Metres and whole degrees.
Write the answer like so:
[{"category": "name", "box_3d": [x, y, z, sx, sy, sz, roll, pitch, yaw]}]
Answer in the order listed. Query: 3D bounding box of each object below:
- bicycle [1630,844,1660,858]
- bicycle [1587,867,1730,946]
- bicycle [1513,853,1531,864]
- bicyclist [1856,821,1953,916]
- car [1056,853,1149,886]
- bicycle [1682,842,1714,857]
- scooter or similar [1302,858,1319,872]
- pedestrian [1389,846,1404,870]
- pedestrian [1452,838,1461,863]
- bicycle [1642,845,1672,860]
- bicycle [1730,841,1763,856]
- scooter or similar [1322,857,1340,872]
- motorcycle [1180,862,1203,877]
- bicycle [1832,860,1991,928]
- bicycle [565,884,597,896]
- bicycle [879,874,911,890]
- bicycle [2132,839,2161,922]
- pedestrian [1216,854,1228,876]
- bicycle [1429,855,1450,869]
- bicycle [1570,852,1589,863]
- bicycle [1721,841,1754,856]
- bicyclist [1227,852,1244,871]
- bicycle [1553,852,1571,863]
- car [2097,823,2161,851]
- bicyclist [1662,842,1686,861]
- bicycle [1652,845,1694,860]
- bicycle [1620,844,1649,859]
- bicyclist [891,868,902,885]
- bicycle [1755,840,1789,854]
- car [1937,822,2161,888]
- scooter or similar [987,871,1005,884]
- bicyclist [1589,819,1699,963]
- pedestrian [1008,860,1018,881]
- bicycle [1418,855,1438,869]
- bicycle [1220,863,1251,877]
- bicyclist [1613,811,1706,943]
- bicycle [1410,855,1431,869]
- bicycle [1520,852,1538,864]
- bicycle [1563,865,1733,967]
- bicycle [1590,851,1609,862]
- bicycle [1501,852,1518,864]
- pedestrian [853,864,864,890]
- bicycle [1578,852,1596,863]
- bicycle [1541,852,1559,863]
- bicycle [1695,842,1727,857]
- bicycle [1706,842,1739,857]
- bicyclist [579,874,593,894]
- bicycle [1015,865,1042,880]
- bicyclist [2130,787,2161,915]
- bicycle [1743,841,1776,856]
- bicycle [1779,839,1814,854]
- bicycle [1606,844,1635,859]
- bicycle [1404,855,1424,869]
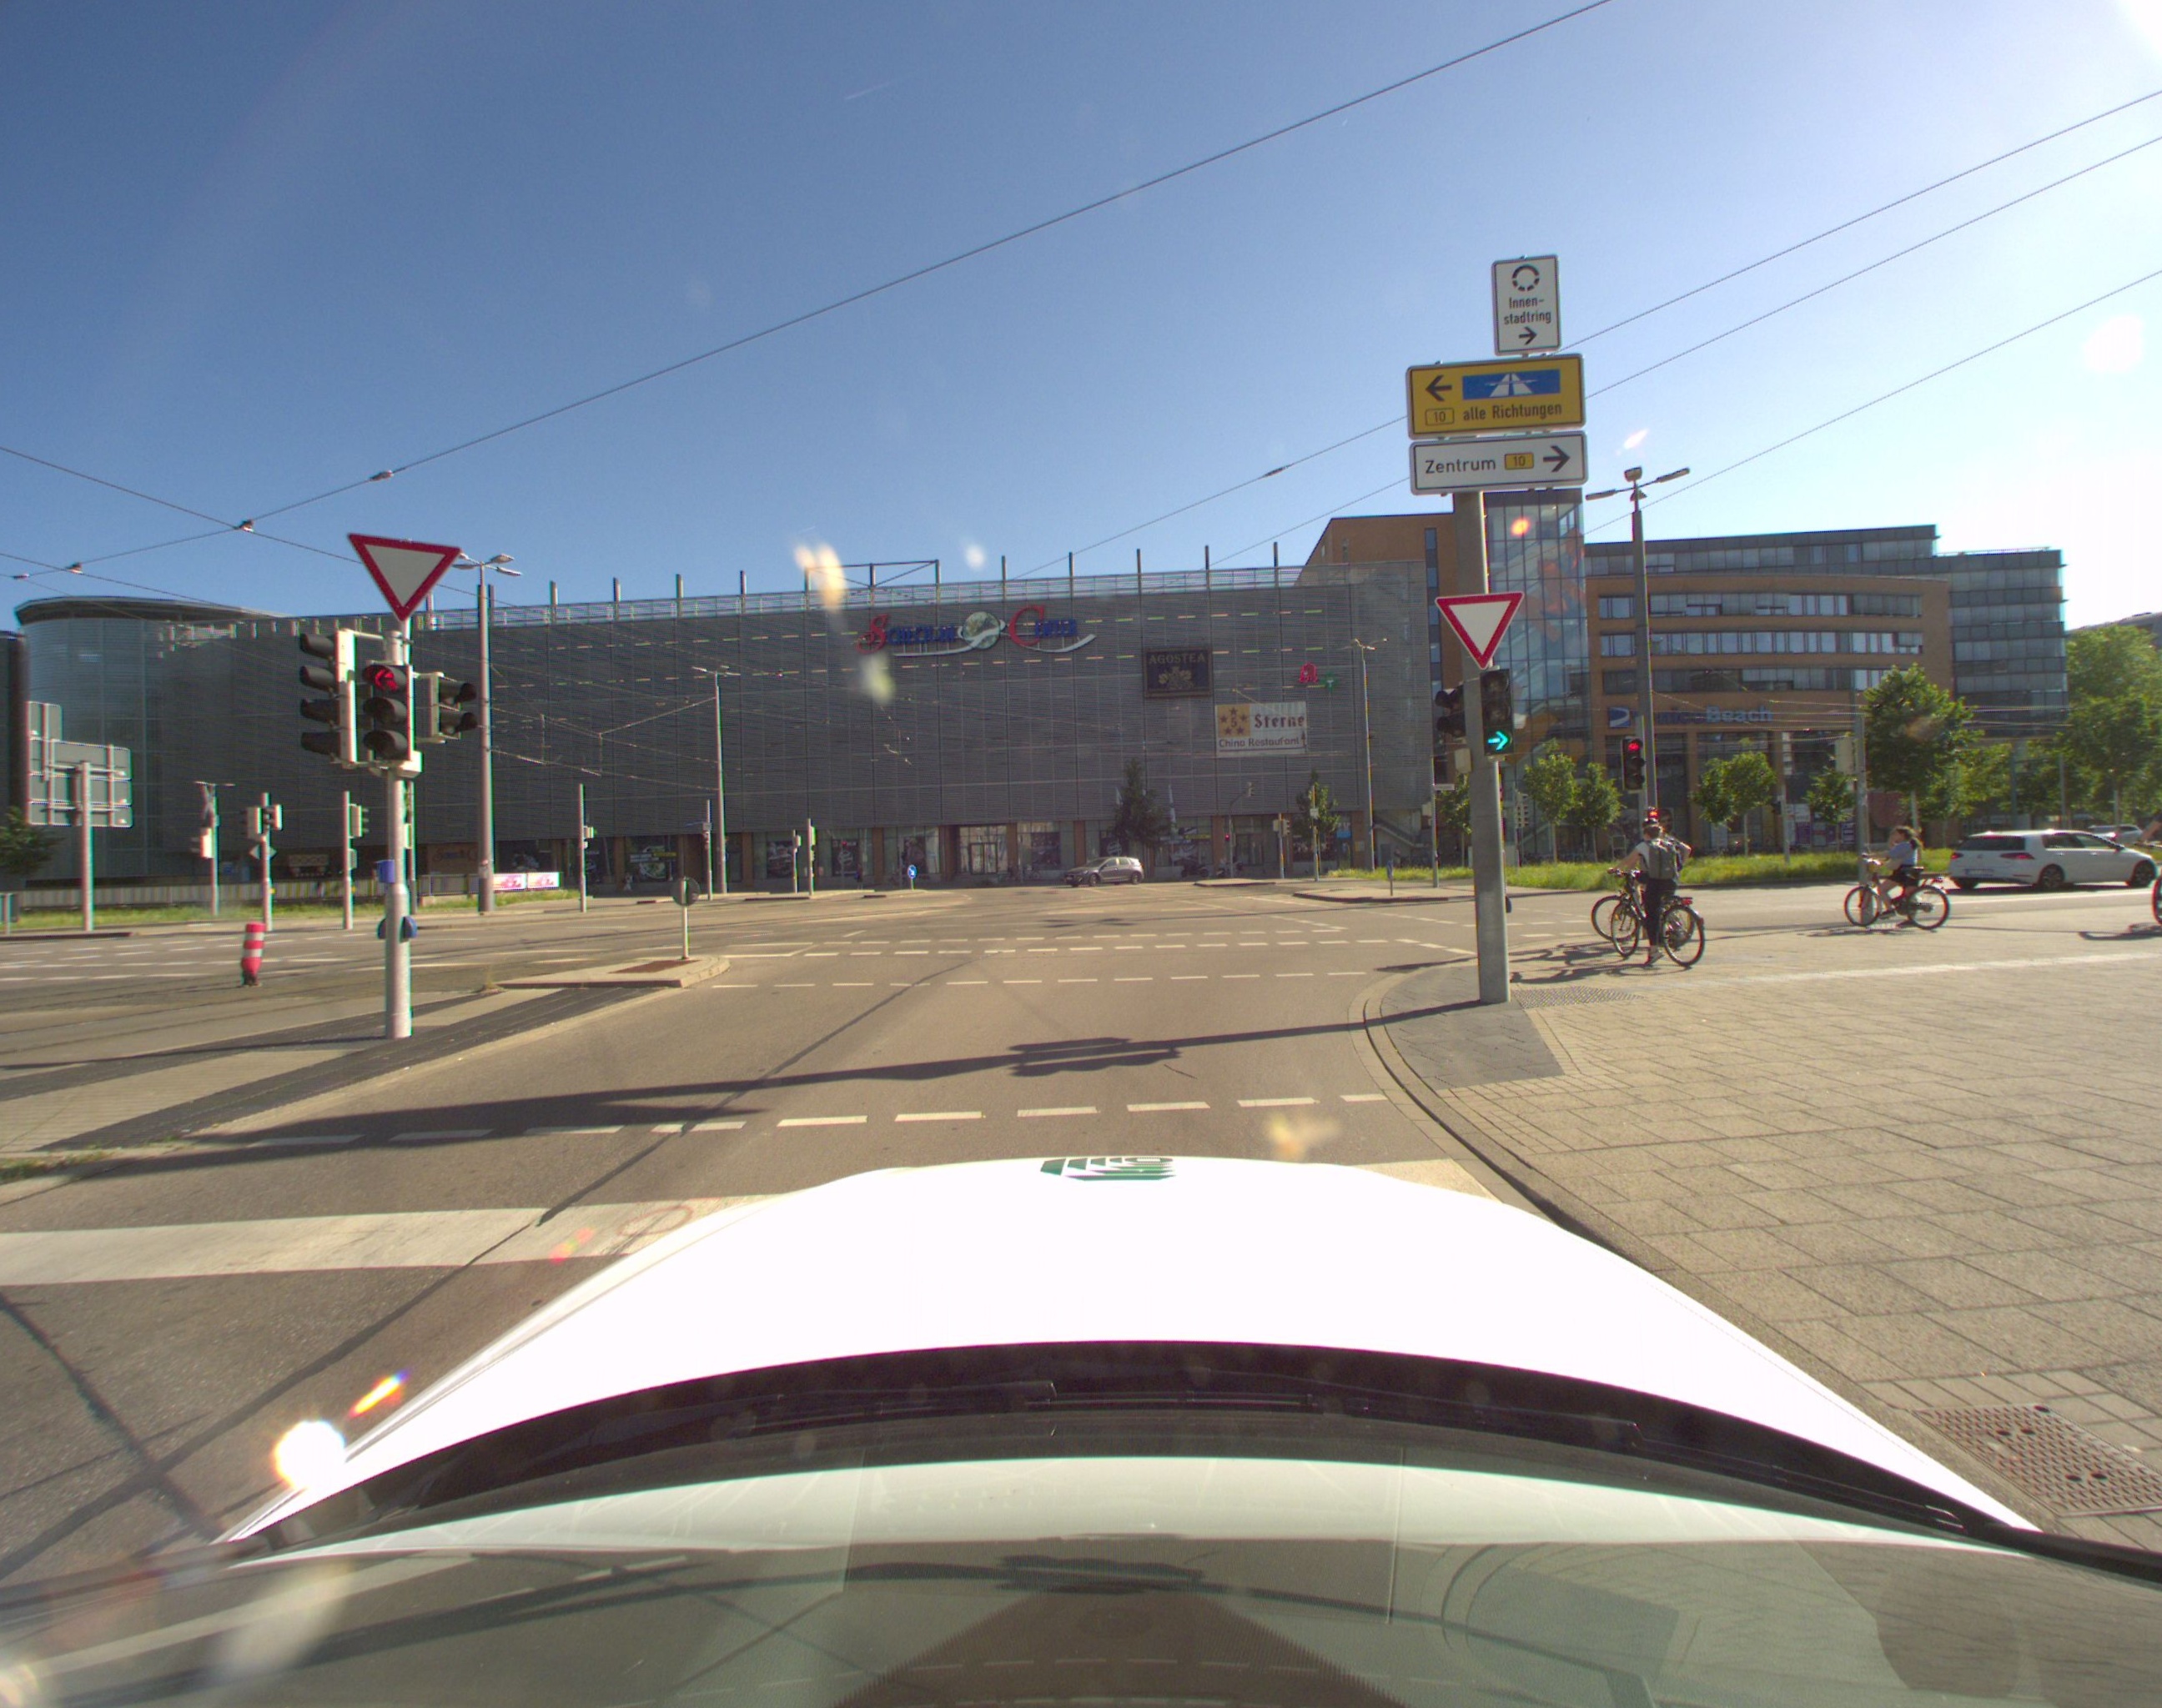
[{"category": "bicycle", "box_3d": [44.975, -0.245, 64.947, 0.749, 1.123, 2.178, -2, 0, -3]}, {"category": "bicycle", "box_3d": [8.340, 0.734, 11.886, 0.603, 1.038, 1.893, -3, -2, -3]}, {"category": "bicycle", "box_3d": [33.530, 0.315, 61.924, 0.443, 0.819, 1.449, -2, 0, -3]}, {"category": "bicyclist", "box_3d": [12.778, 0.230, 12.664, 0.585, 1.404, 0.827, -3, -2, 1]}, {"category": "car", "box_3d": [1.110, 0.769, 41.341, 4.327, 1.499, 1.979, -1, -1, -34]}, {"category": "bicycle", "box_3d": [48.852, -0.335, 64.534, 0.749, 1.123, 2.178, -2, 0, -3]}, {"category": "scooter or similar", "box_3d": [17.307, 0.831, 61.396, 1.196, 1.103, 0.277, 0, -1, 4]}, {"category": "pedestrian", "box_3d": [22.747, 0.309, 58.711, 0.776, 1.685, 0.595, -2, -1, -12]}, {"category": "pedestrian", "box_3d": [29.305, -0.278, 63.500, 0.536, 1.915, 0.375, -1, -1, 9]}, {"category": "bicycle", "box_3d": [46.043, -0.125, 65.133, 0.749, 1.123, 2.178, -2, 0, -3]}, {"category": "bicycle", "box_3d": [52.608, -0.416, 64.385, 0.749, 1.123, 2.178, -2, 0, -3]}, {"category": "scooter or similar", "box_3d": [18.877, 0.783, 61.487, 1.196, 1.103, 0.277, 0, -1, 4]}, {"category": "motorcycle", "box_3d": [8.205, 1.161, 60.476, 1.607, 1.038, 0.402, -2, -1, 2]}, {"category": "bicycle", "box_3d": [12.822, 0.606, 12.658, 0.692, 0.954, 1.708, -3, -2, 2]}, {"category": "bicycle", "box_3d": [-37.070, 2.633, 60.360, 2.008, 0.811, 0.560, -2, -1, 0]}, {"category": "bicycle", "box_3d": [-12.599, 1.887, 55.076, 2.028, 0.985, 0.554, -1, -1, -31]}, {"category": "bicycle", "box_3d": [14.903, 0.337, 10.993, 1.901, 1.036, 0.819, -2, 1, -39]}, {"category": "pedestrian", "box_3d": [9.589, 0.771, 55.457, 0.734, 1.487, 0.491, -2, -1, 11]}, {"category": "bicycle", "box_3d": [26.665, 0.586, 60.636, 0.490, 0.954, 2.178, -2, 0, -3]}, {"category": "bicycle", "box_3d": [37.661, 0.250, 61.569, 0.443, 0.819, 1.449, -2, 0, -3]}, {"category": "bicycle", "box_3d": [51.825, -0.410, 64.345, 0.749, 1.123, 2.178, -2, 0, -3]}, {"category": "bicyclist", "box_3d": [10.999, 0.568, 58.052, 1.032, 1.318, 0.682, -2, -1, 1]}, {"category": "bicycle", "box_3d": [36.333, 0.260, 61.545, 0.443, 0.819, 1.449, -2, 0, -3]}, {"category": "car", "box_3d": [68.958, -1.111, 52.601, 5.530, 1.652, 1.807, -2, -1, -11]}, {"category": "bicyclist", "box_3d": [43.688, -0.174, 60.008, 1.303, 1.407, 0.594, -2, -1, 3]}, {"category": "bicycle", "box_3d": [43.603, -0.103, 60.016, 2.550, 1.010, 0.598, -2, -1, 3]}, {"category": "bicycle", "box_3d": [44.042, -0.188, 64.852, 0.749, 1.123, 2.178, -2, 0, -3]}, {"category": "bicyclist", "box_3d": [-12.484, 1.527, 55.161, 0.565, 1.139, 0.554, -1, -1, -31]}, {"category": "bicycle", "box_3d": [54.806, -0.562, 64.601, 0.749, 1.123, 2.178, -2, 0, -3]}, {"category": "car", "box_3d": [23.651, -0.009, 19.856, 4.279, 1.403, 1.773, -2, 1, -10]}, {"category": "scooter or similar", "box_3d": [-5.913, 1.643, 56.604, 1.219, 0.851, 0.301, -2, -1, -1]}, {"category": "bicyclist", "box_3d": [6.909, 0.434, 10.041, 0.591, 1.654, 1.004, -3, -1, 2]}, {"category": "pedestrian", "box_3d": [-5.004, 1.187, 59.865, 0.644, 1.519, 0.492, -2, -1, 6]}, {"category": "bicycle", "box_3d": [25.944, 0.581, 60.904, 0.490, 0.954, 2.178, -2, 0, -3]}, {"category": "bicycle", "box_3d": [10.989, 1.141, 58.039, 2.034, 0.867, 0.682, -2, -1, 1]}, {"category": "bicyclist", "box_3d": [8.328, 0.331, 11.764, 0.547, 1.798, 0.905, -3, -2, -4]}, {"category": "bicycle", "box_3d": [25.345, 0.584, 60.829, 0.490, 0.954, 2.178, -2, 0, -3]}, {"category": "bicycle", "box_3d": [34.093, 0.302, 61.978, 0.443, 0.819, 1.449, -2, 0, -3]}, {"category": "bicycle", "box_3d": [6.927, 0.721, 10.110, 0.692, 1.105, 2.012, -3, -2, 2]}, {"category": "bicycle", "box_3d": [39.251, 0.206, 61.613, 0.443, 0.819, 1.449, -2, 0, -3]}, {"category": "bicycle", "box_3d": [32.537, 0.296, 61.784, 0.443, 0.819, 1.449, -2, 0, -3]}, {"category": "pedestrian", "box_3d": [-15.151, 1.572, 55.440, 0.625, 1.751, 0.585, -1, -1, -17]}, {"category": "bicycle", "box_3d": [38.258, 0.234, 61.596, 0.443, 0.819, 1.449, -2, 0, -3]}, {"category": "bicycle", "box_3d": [35.490, 0.272, 61.605, 0.443, 0.819, 1.449, -2, 0, -3]}, {"category": "bicycle", "box_3d": [49.887, -0.342, 64.551, 0.749, 1.123, 2.178, -2, 0, -3]}, {"category": "bicycle", "box_3d": [50.804, -0.349, 64.538, 0.749, 1.123, 2.178, -2, 0, -3]}, {"category": "bicyclist", "box_3d": [-36.695, 2.216, 60.351, 0.652, 1.410, 0.560, -2, -1, 0]}, {"category": "bicycle", "box_3d": [-3.893, 1.371, 60.736, 1.940, 1.038, 0.572, -2, -1, -3]}, {"category": "bicyclist", "box_3d": [14.811, -0.051, 10.949, 1.057, 1.693, 0.799, -2, 1, -41]}, {"category": "bicycle", "box_3d": [53.474, -0.455, 64.200, 0.749, 1.123, 2.178, -2, 0, -3]}, {"category": "bicycle", "box_3d": [56.760, -0.597, 64.618, 0.749, 1.123, 2.178, -2, 0, -3]}, {"category": "bicycle", "box_3d": [42.975, -0.180, 64.864, 0.749, 1.123, 2.178, -2, 0, -3]}, {"category": "bicycle", "box_3d": [24.762, 0.586, 60.638, 0.490, 0.954, 2.178, -2, 0, -3]}]
